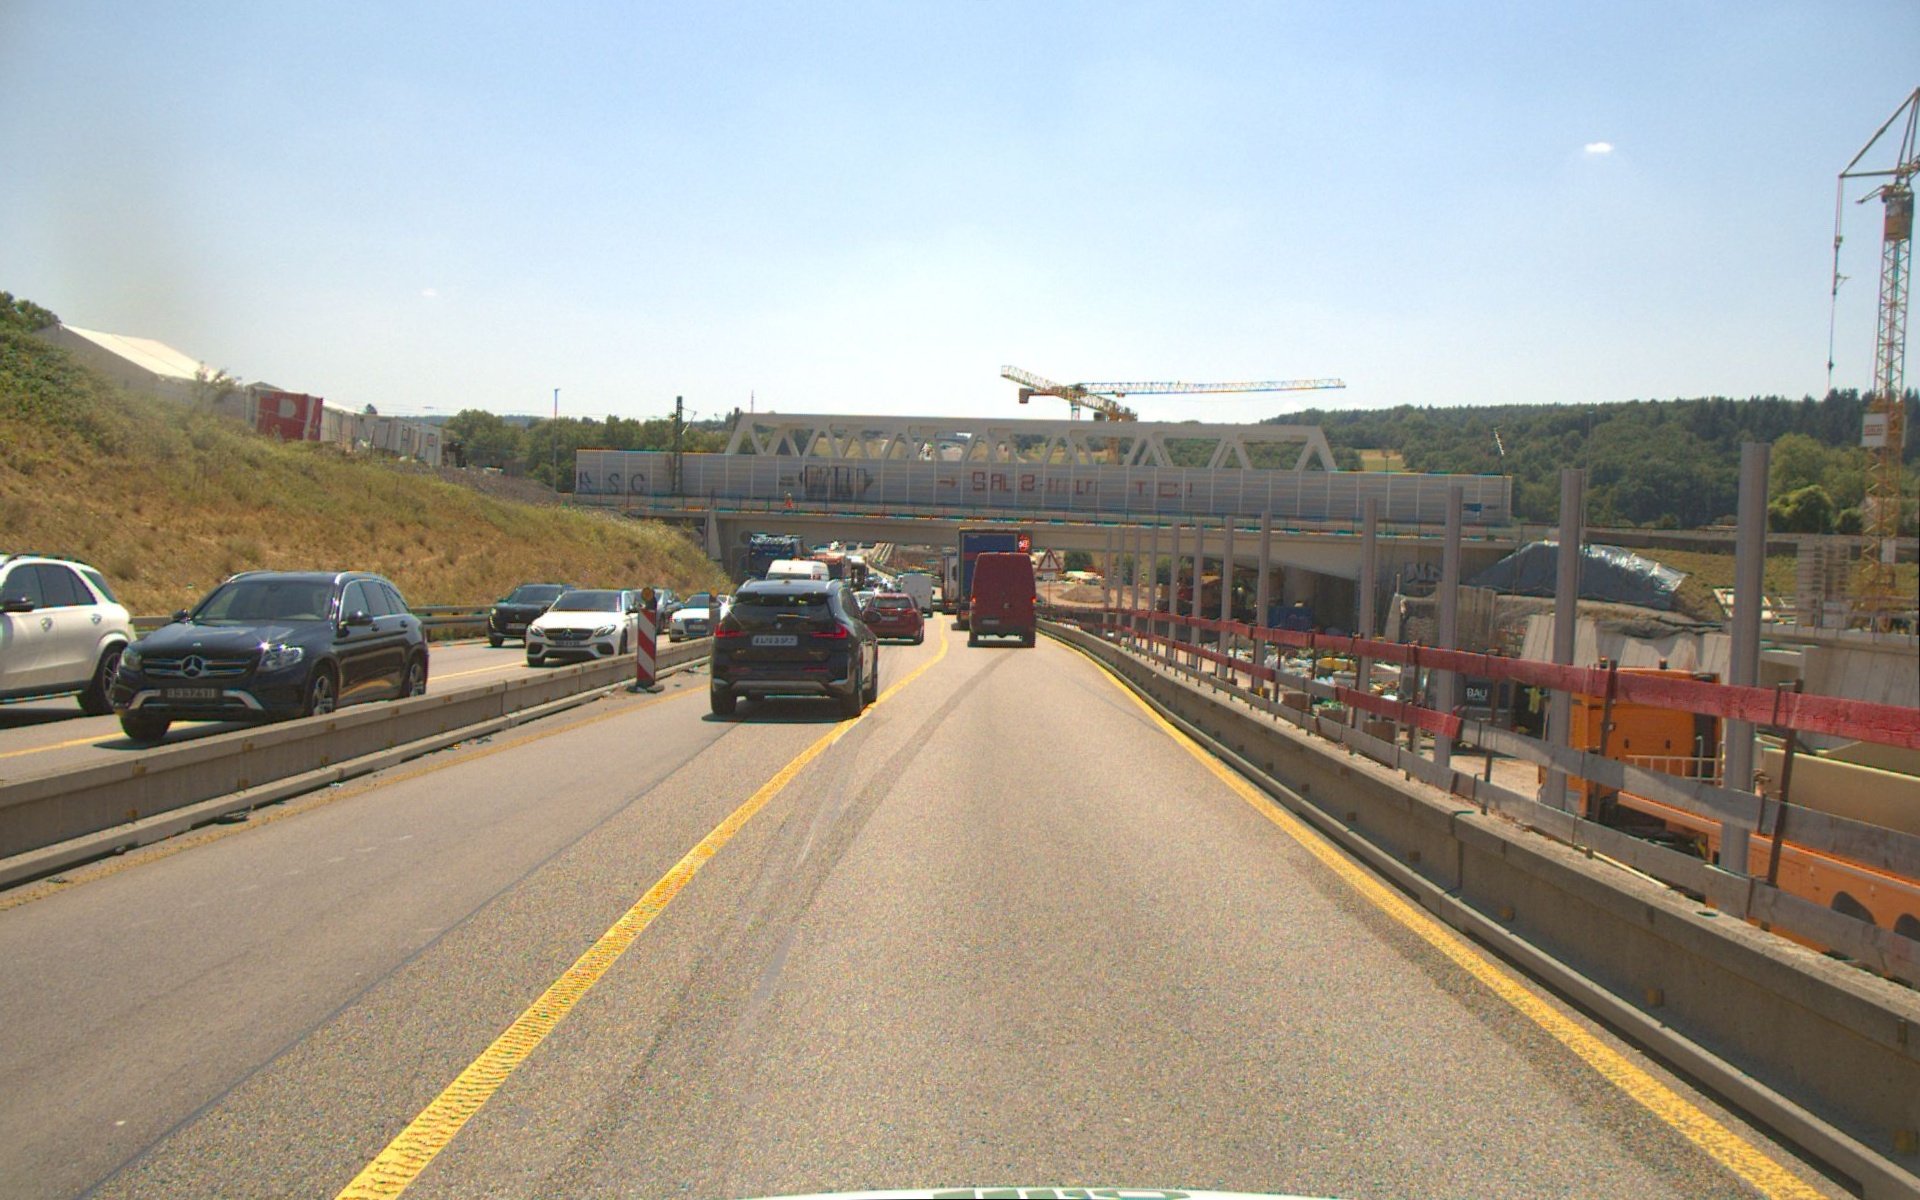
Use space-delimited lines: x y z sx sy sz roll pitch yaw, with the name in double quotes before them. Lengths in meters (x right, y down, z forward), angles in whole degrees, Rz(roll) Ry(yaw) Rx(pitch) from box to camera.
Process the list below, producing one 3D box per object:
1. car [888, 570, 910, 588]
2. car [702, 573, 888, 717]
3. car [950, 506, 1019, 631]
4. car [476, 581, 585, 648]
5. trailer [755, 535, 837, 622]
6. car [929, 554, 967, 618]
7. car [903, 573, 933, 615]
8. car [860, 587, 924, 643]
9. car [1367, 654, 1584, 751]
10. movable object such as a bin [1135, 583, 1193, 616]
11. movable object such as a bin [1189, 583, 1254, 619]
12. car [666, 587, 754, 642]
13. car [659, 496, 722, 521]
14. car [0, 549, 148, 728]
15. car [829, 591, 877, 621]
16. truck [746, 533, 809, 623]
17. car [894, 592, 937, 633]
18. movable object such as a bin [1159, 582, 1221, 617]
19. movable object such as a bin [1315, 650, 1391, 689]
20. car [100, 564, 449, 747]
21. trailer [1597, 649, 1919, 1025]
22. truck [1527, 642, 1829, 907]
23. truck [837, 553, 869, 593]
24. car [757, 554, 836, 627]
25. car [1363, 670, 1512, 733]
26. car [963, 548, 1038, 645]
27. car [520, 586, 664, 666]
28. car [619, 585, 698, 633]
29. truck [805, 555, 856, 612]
"car" -7.073 -2.421 192.136 1.958 2.049 3.989 1 1 -12
"car" -1.994 0.492 21.261 1.841 1.646 4.500 0 1 1
"car" 0.990 -1.362 73.549 2.568 5.120 10.393 0 1 -2
"car" -10.691 0.319 41.409 1.659 1.558 4.000 1 1 0
"trailer" -8.247 -1.088 84.670 2.298 4.085 11.455 1 1 3
"car" -0.872 -0.965 113.488 2.401 4.233 6.858 0 1 -2
"car" -2.519 -0.387 99.010 1.740 2.484 4.205 0 1 -2
"car" -1.972 0.417 48.793 1.739 1.544 4.206 0 1 0
"car" 16.230 3.217 52.198 5.980 2.629 2.523 2 2 -11
"movable object such as a bin" 18.123 -0.052 147.085 5.038 2.856 2.143 1 0 4
"movable object such as a bin" 21.394 0.092 135.427 5.038 2.856 2.143 1 0 4
"car" -7.263 0.395 48.455 1.763 1.472 4.637 1 1 1
"car" -20.896 -7.113 128.297 4.456 1.814 1.962 1 0 12
"car" -10.511 0.369 17.512 1.755 1.793 4.535 0 1 -3
"car" -5.326 0.285 82.786 1.779 1.408 4.586 1 1 4
"truck" -8.596 -1.045 78.241 2.308 4.085 4.002 1 0 3
"car" -1.924 0.507 70.587 1.802 1.683 4.163 0 1 -3
"movable object such as a bin" 19.775 -0.074 142.340 5.038 2.856 2.143 1 0 4
"movable object such as a bin" 18.100 3.169 76.160 3.043 1.590 1.548 2 1 34
"car" -6.971 0.479 17.423 1.754 1.639 4.732 1 1 -1
"trailer" 12.458 2.927 22.163 2.702 3.954 13.048 1 1 0
"truck" 12.430 2.847 29.243 2.702 3.954 5.881 1 1 0
"truck" -11.085 -2.767 172.663 2.777 3.919 12.908 1 1 -2
"car" -6.296 -0.377 64.599 1.952 2.652 7.014 1 1 3
"car" 16.885 3.578 58.649 4.631 1.804 2.000 3 2 0
"car" 1.154 -0.129 49.405 1.948 2.737 4.622 0 1 -2
"car" -7.470 0.475 34.084 1.921 1.489 4.939 1 1 -1
"car" -9.885 0.277 54.557 1.728 1.472 4.129 1 1 1
"truck" -9.435 -1.246 121.959 2.777 3.919 12.911 1 1 0
